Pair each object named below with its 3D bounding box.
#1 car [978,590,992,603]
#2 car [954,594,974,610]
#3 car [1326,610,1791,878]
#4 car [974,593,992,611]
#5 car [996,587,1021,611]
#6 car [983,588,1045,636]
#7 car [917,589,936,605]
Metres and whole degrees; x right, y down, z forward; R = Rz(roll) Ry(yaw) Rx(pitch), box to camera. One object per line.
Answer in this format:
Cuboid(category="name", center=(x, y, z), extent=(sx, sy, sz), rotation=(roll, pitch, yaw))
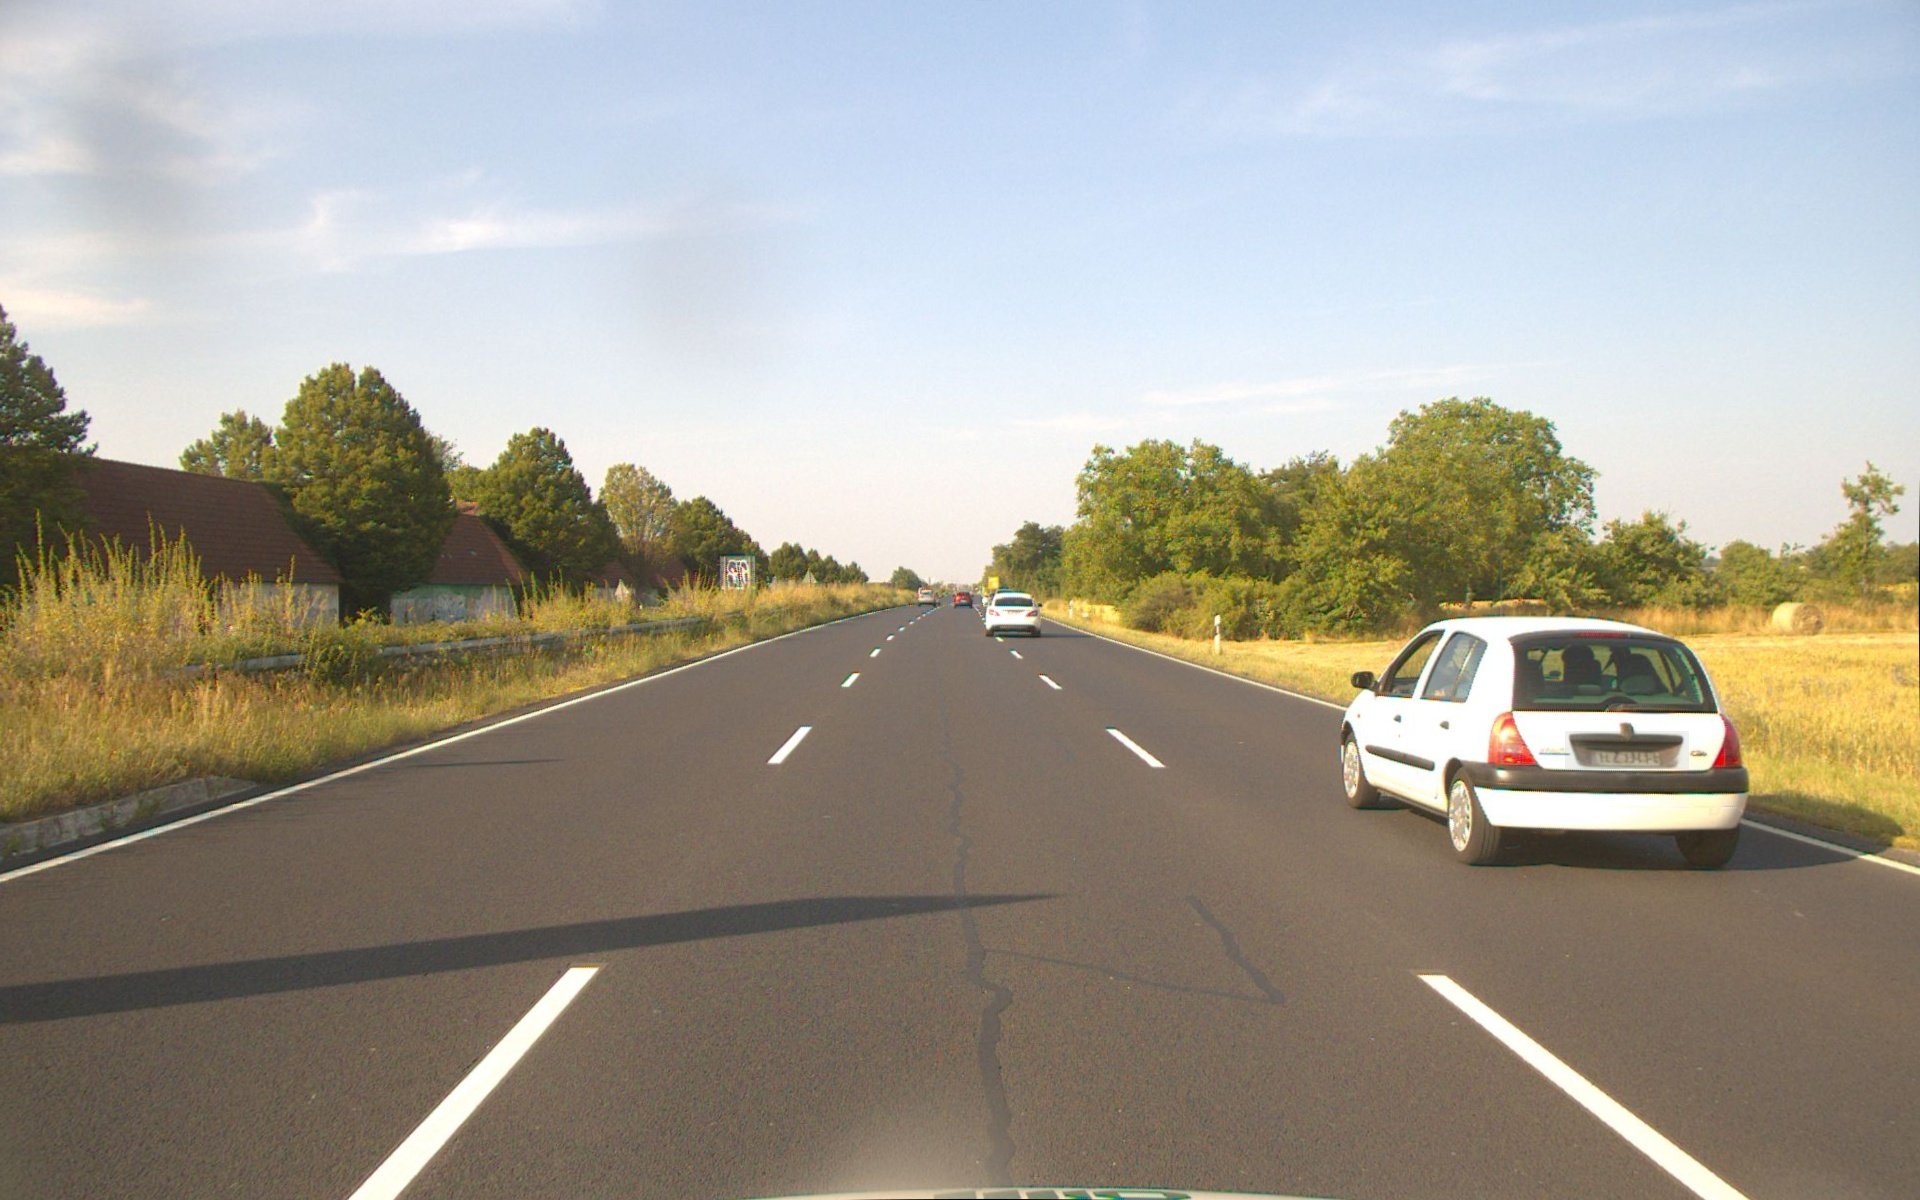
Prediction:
Cuboid(category="car", center=(3.354, -0.469, 220.905), extent=(1.733, 1.713, 4.000), rotation=(1, -1, 1))
Cuboid(category="car", center=(0.402, 0.182, 152.443), extent=(1.775, 1.461, 3.857), rotation=(1, -1, -1))
Cuboid(category="car", center=(3.631, 0.784, 10.792), extent=(1.584, 1.411, 3.951), rotation=(1, -1, 0))
Cuboid(category="car", center=(2.264, 0.246, 164.429), extent=(1.796, 1.747, 3.862), rotation=(1, -1, 0))
Cuboid(category="car", center=(3.708, -0.069, 127.676), extent=(1.790, 1.758, 3.999), rotation=(1, -1, 0))
Cuboid(category="car", center=(1.802, 0.397, 56.031), extent=(1.953, 1.543, 4.000), rotation=(1, -1, 0))
Cuboid(category="car", center=(-3.423, -0.289, 169.396), extent=(1.722, 1.646, 4.001), rotation=(1, -1, 2))
